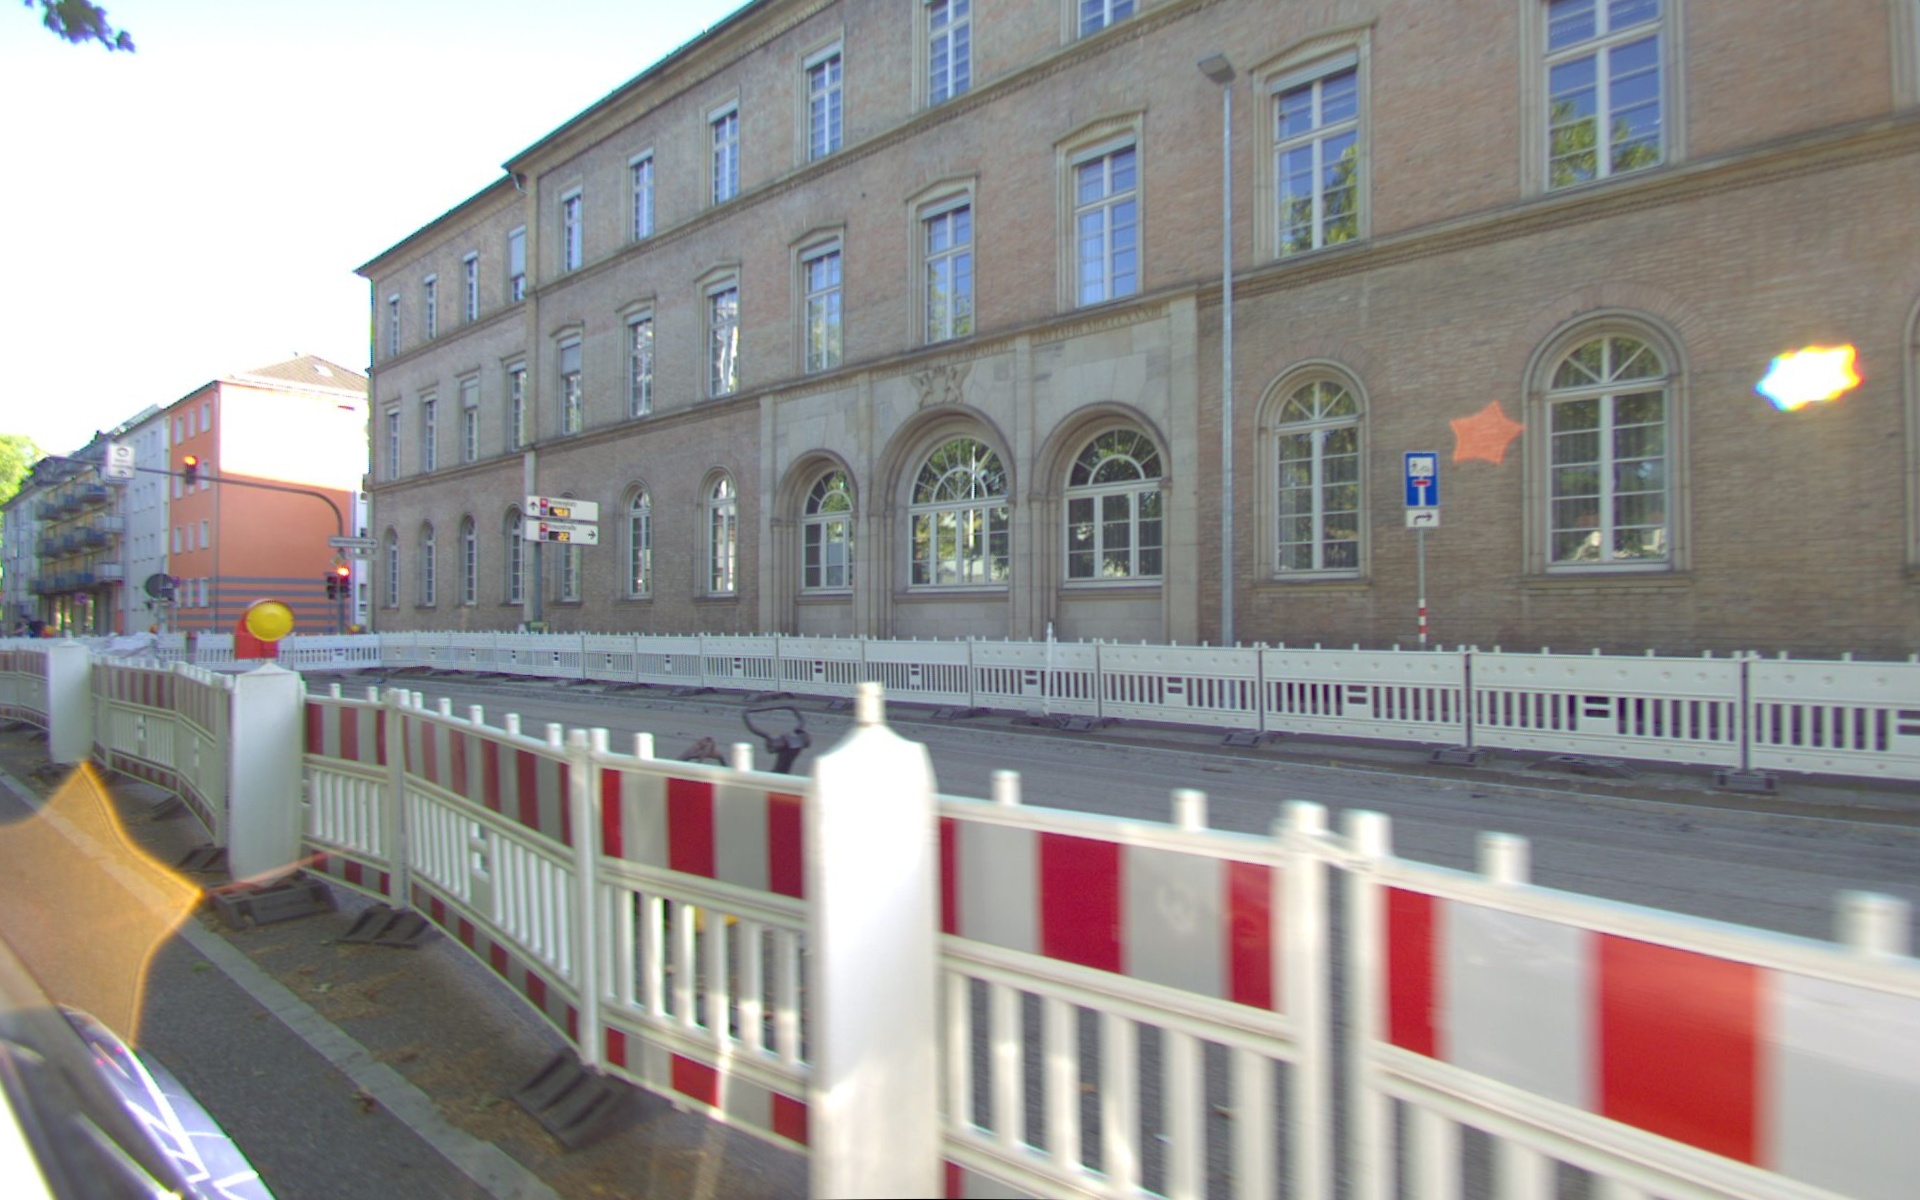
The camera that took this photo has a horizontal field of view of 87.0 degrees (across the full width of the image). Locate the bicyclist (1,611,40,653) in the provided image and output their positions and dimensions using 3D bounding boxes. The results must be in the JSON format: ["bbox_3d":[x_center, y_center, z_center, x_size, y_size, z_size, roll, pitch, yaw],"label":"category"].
[{"bbox_3d":[-32.551,1.126,35.078,0.825,1.383,0.793,3,-6,-36],"label":"bicyclist"}]

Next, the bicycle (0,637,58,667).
[{"bbox_3d":[-32.574,1.813,35.004,1.960,1.007,0.792,2,-5,-37],"label":"bicycle"}]

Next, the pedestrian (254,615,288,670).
[{"bbox_3d":[-22.677,1.389,33.311,0.870,1.785,0.749,1,-2,-39],"label":"pedestrian"}]
